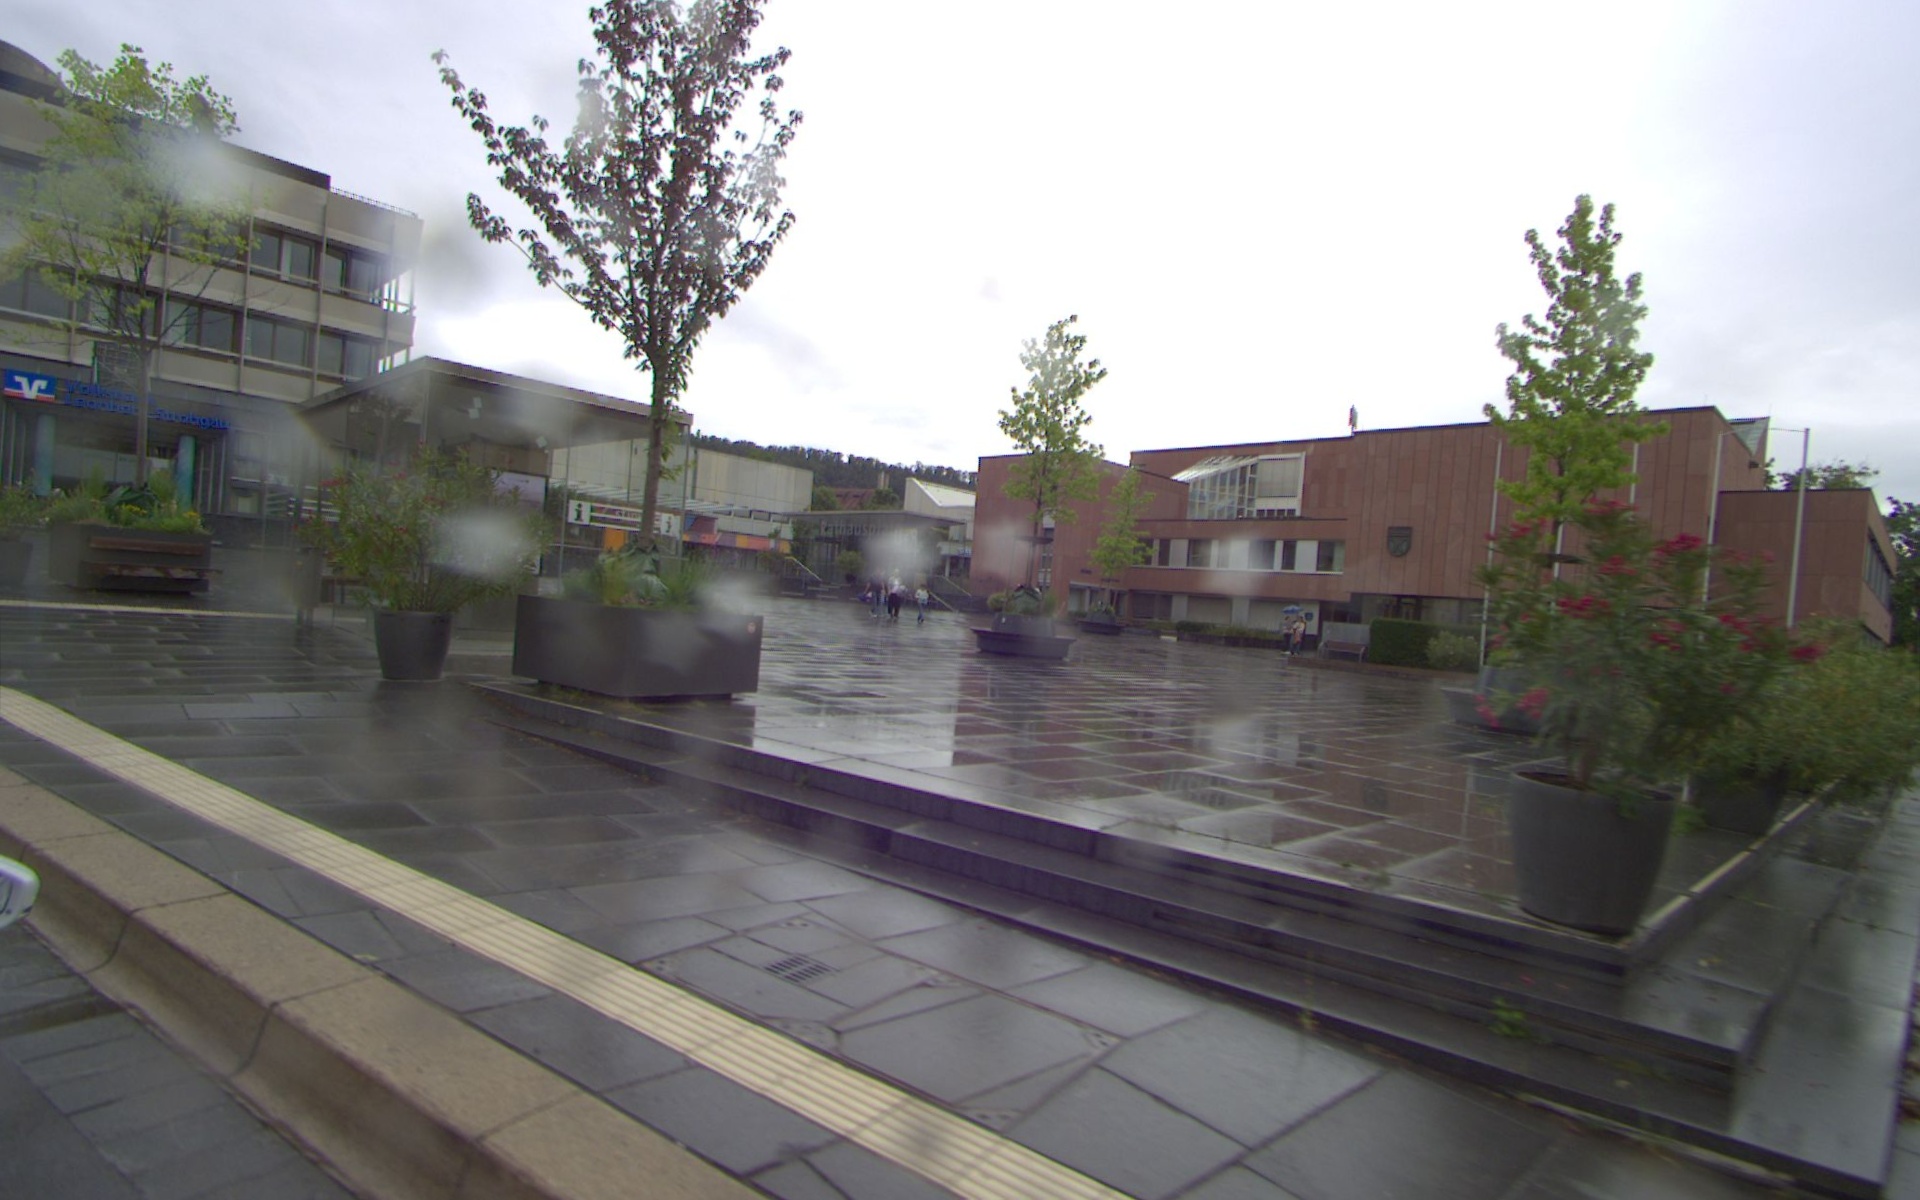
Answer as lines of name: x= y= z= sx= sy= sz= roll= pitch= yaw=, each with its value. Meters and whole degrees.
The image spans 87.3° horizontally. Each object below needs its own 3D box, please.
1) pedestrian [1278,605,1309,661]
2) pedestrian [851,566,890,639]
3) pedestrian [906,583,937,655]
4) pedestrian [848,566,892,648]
pedestrian: x=14.377 y=1.422 z=43.365 sx=0.788 sy=2.339 sz=0.898 roll=6 pitch=3 yaw=42
pedestrian: x=-3.152 y=0.089 z=35.413 sx=0.936 sy=2.471 sz=0.767 roll=3 pitch=3 yaw=-42
pedestrian: x=-1.352 y=0.663 z=35.520 sx=0.731 sy=2.471 sz=0.562 roll=3 pitch=3 yaw=-45
pedestrian: x=-3.092 y=0.247 z=34.649 sx=1.048 sy=2.720 sz=0.823 roll=3 pitch=3 yaw=-40
